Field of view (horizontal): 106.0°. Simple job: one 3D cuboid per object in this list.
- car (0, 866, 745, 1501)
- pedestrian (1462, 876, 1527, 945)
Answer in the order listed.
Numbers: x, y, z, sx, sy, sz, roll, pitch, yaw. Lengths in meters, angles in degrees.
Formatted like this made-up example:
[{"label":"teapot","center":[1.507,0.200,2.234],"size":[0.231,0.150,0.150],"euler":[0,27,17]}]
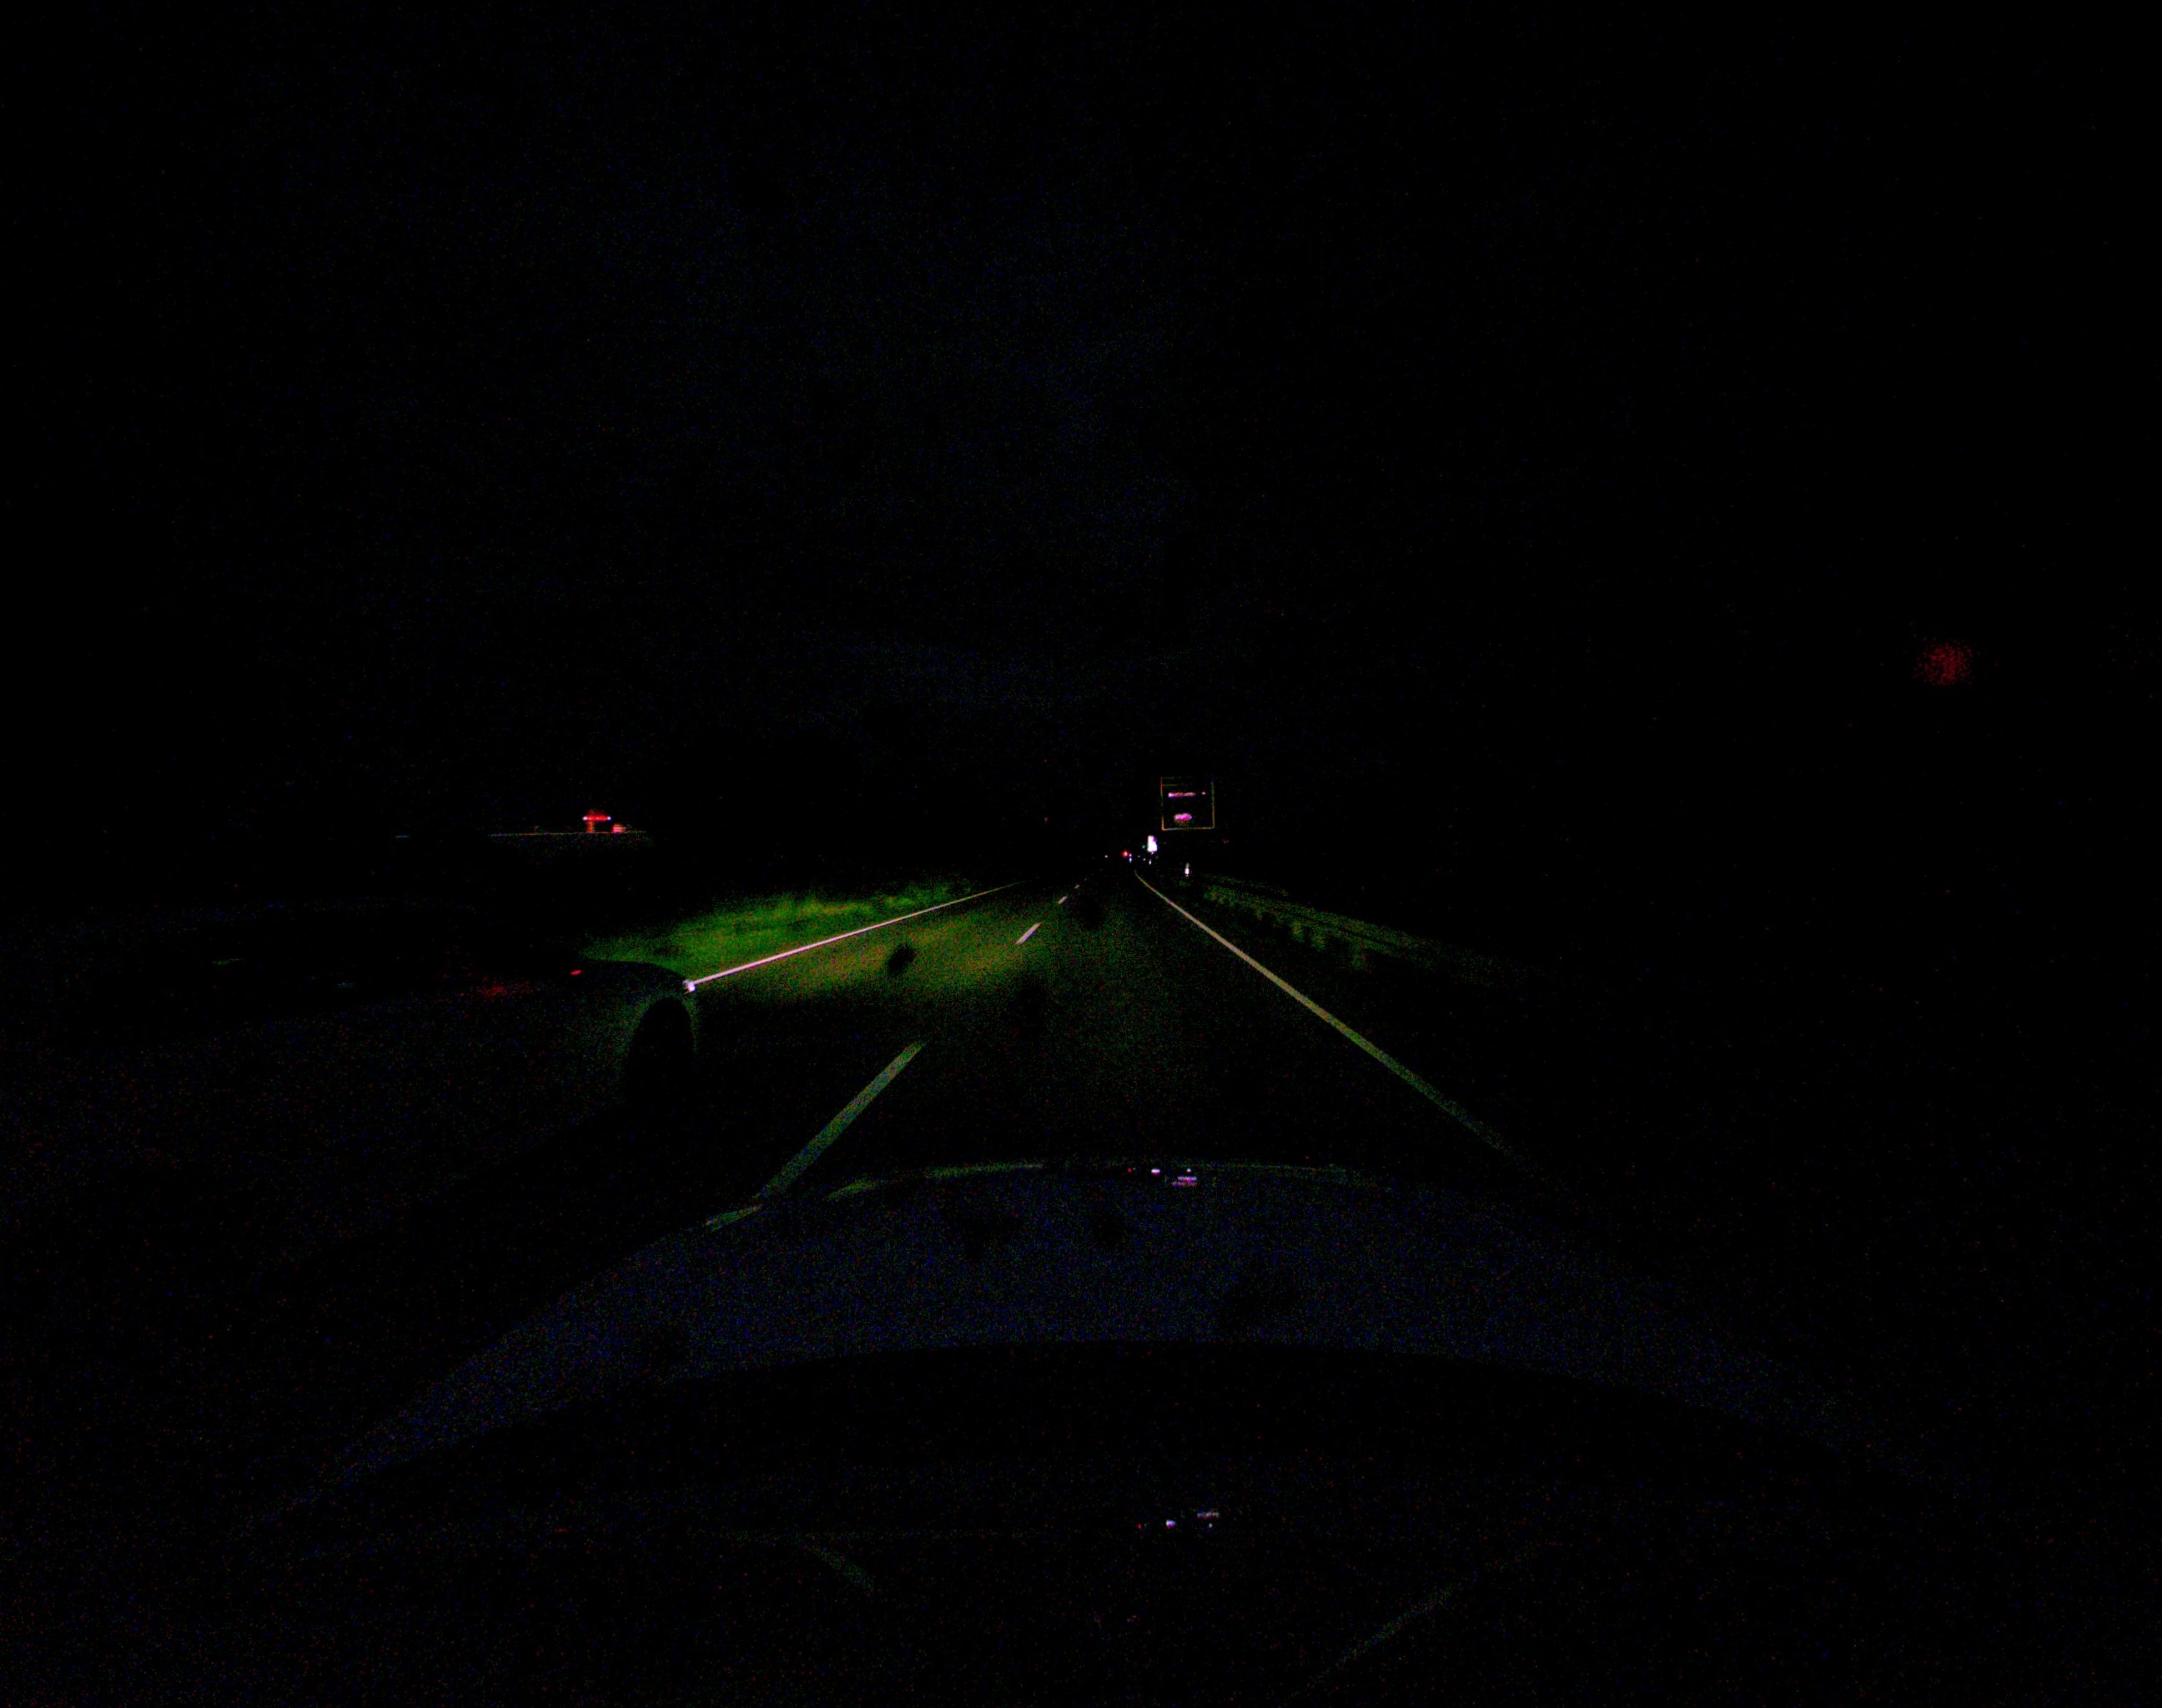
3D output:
[{"label":"car","center":[-3.378,0.832,3.740],"size":[1.636,1.490,4.581],"euler":[-1,0,2]},{"label":"pedestrian","center":[10.263,1.375,20.275],"size":[1.058,1.643,1.119],"euler":[-1,-1,2]}]
